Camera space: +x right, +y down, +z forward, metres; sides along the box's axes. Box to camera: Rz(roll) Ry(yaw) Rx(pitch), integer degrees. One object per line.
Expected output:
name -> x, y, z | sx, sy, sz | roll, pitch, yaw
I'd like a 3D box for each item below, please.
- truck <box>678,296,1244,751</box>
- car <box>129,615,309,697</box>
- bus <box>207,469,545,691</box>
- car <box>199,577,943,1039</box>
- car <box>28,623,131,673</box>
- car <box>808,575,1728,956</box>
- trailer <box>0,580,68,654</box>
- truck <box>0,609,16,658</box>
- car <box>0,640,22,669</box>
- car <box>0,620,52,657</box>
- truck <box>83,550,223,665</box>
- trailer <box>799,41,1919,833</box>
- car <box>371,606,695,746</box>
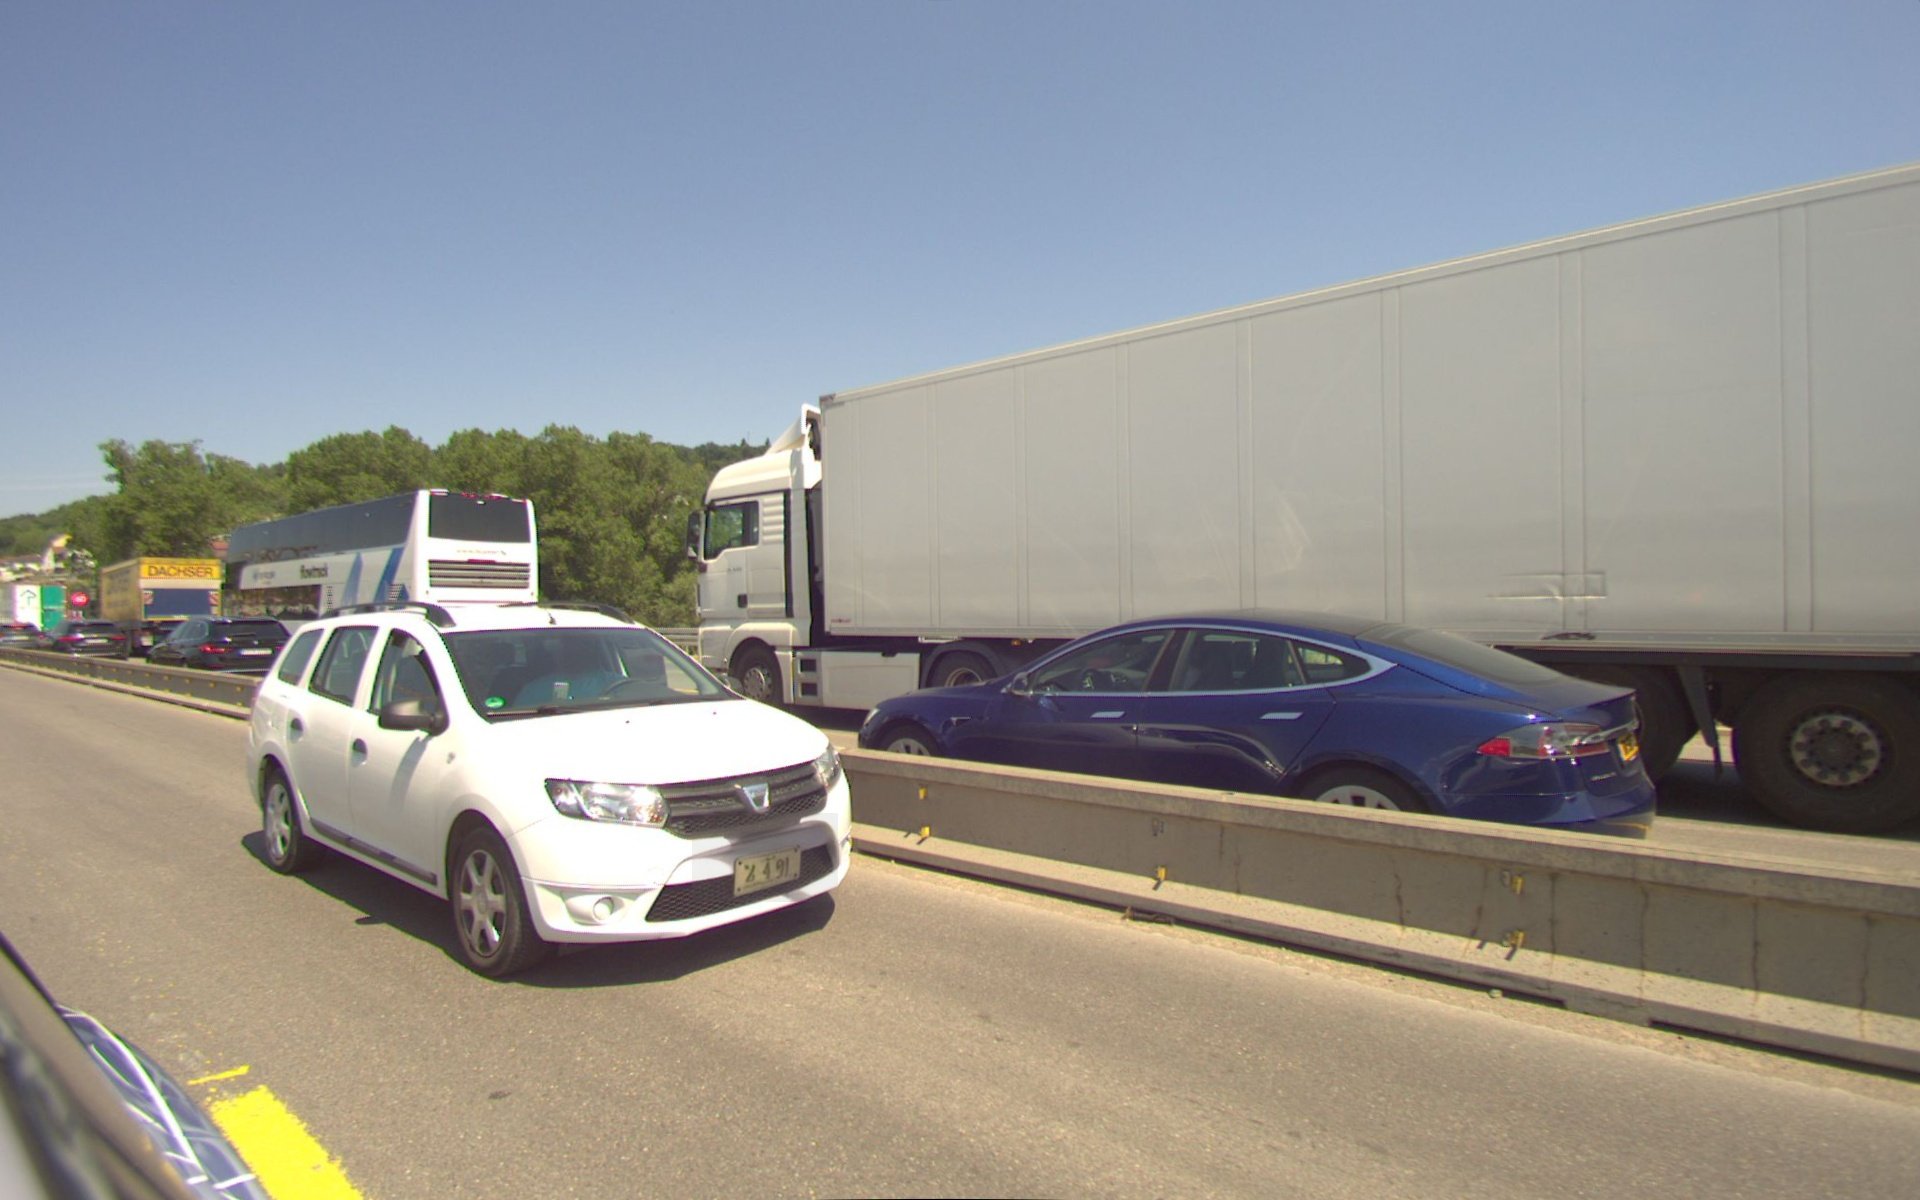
truck -> -0.298, -0.615, 12.778 | 6.699, 4.230, 3.064 | -3, -1, 42
car -> -15.514, 1.131, 21.082 | 5.087, 1.434, 1.898 | -3, 0, 41
bus -> -15.259, -0.256, 25.382 | 14.467, 4.296, 2.711 | -2, -1, 41
car -> -2.457, 0.734, 5.602 | 4.702, 1.542, 1.800 | -1, -1, 40
car -> -28.126, 1.495, 32.271 | 4.927, 1.454, 1.819 | -1, -1, 41
car -> 1.453, 0.740, 6.261 | 5.117, 1.448, 1.794 | -4, -1, 41
trailer -> -61.341, 1.238, 66.352 | 13.163, 4.464, 2.785 | -2, -2, 42
truck -> -79.330, 2.845, 82.137 | 8.360, 3.793, 2.875 | -4, -1, 40
car -> -51.721, 2.927, 54.022 | 5.122, 1.443, 1.863 | -2, -1, 41
car -> -41.305, 1.679, 44.126 | 4.900, 1.505, 1.840 | -2, -3, 40
truck -> -32.861, 0.361, 41.010 | 10.075, 4.184, 2.773 | -1, -1, 42
trailer -> 4.436, -0.843, 8.548 | 14.071, 4.417, 3.108 | -2, -1, 41
car -> -5.480, 0.840, 12.676 | 4.679, 1.434, 1.814 | -2, -1, 40
